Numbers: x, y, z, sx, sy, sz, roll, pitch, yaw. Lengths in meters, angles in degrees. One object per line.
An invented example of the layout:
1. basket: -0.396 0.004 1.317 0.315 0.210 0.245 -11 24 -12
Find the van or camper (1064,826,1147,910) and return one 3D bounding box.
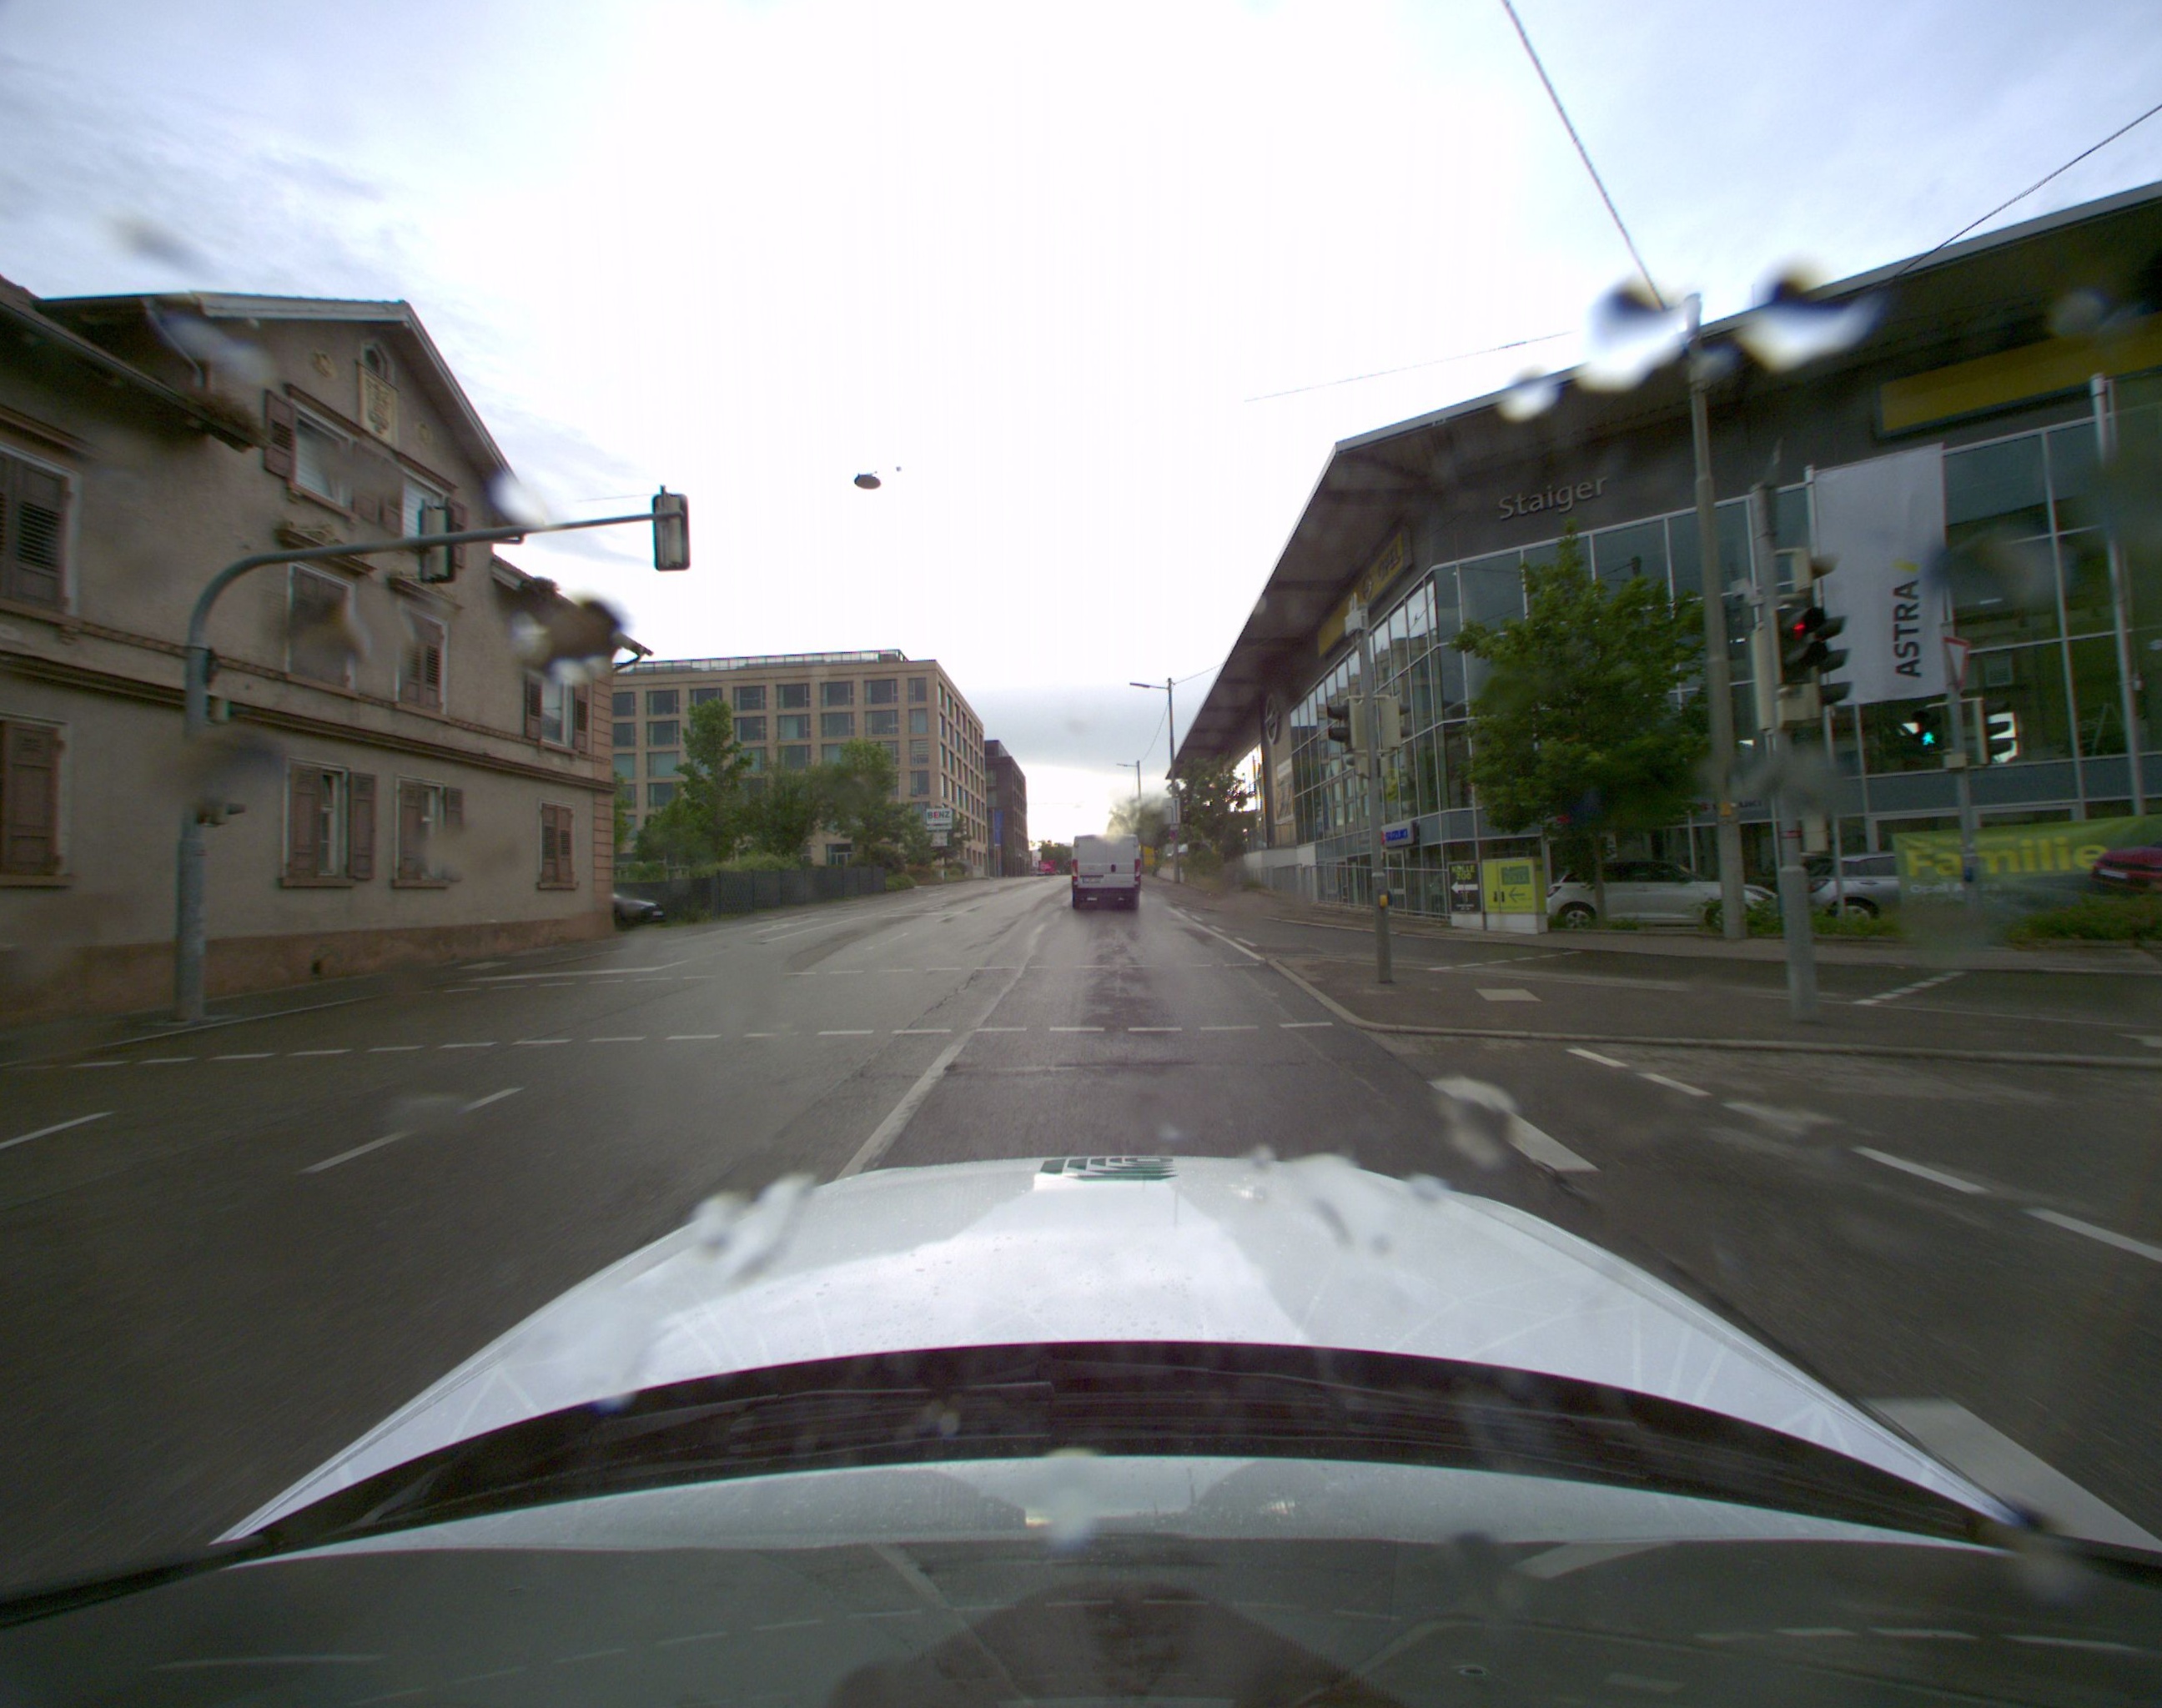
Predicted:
1. van or camper: 0.814 0.432 26.084 2.331 2.357 5.202 -1 -1 2

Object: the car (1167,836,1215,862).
1. car: 8.072 -0.369 59.571 1.975 1.711 4.455 -5 -2 28

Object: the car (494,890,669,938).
1. car: -14.305 1.702 23.494 3.978 1.163 1.605 -1 -1 -3

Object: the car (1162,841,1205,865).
1. car: 8.154 -0.098 64.358 1.975 1.711 4.604 -4 -2 25

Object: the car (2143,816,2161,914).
1. car: 18.955 0.077 11.754 3.948 1.592 1.837 -4 -3 34

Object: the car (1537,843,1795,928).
1. car: 11.483 0.692 16.395 3.949 1.508 1.909 -3 -4 29

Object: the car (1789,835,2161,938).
1. car: 14.989 0.596 14.021 3.948 1.530 1.837 -4 -3 34

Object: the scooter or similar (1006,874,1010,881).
1. scooter or similar: -11.528 3.720 128.139 0.349 1.072 1.429 -1 -3 2

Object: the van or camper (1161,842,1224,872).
1. van or camper: 10.674 0.324 78.326 5.716 2.724 2.352 -1 -1 1
